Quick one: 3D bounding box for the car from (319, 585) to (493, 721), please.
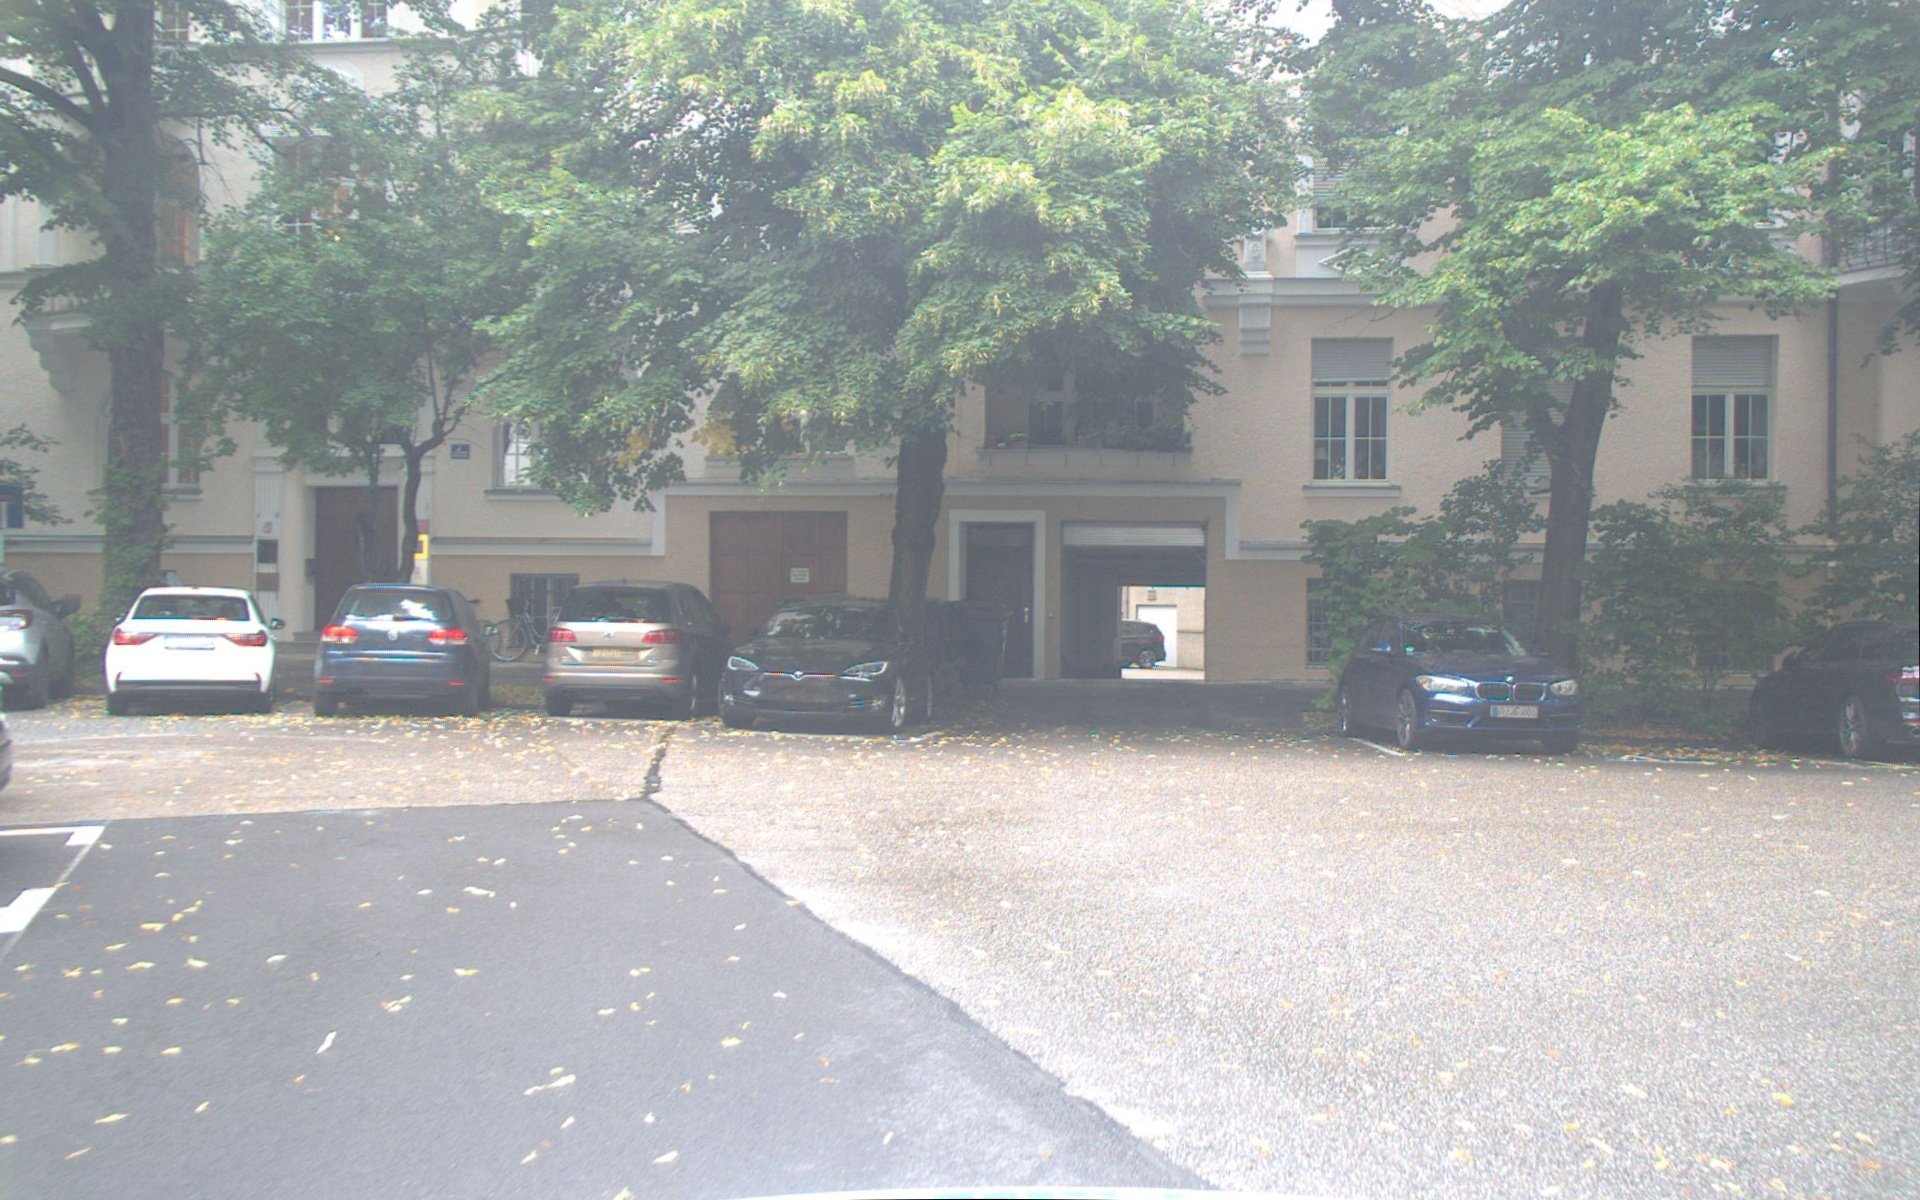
[{"bbox_3d":[-6.521,0.560,19.801,1.762,1.456,3.982,1,0,-16],"label":"car"}]

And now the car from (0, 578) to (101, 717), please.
[{"bbox_3d":[-11.709,0.503,19.987,1.842,1.536,3.976,1,0,-21],"label":"car"}]

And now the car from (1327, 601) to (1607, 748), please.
[{"bbox_3d":[5.379,0.751,18.160,1.801,1.407,4.342,0,-1,1],"label":"car"}]

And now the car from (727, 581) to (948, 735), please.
[{"bbox_3d":[-1.259,0.655,18.883,1.668,1.492,4.291,2,-2,7],"label":"car"}]

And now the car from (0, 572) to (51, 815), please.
[{"bbox_3d":[-8.025,0.661,10.318,3.937,1.505,1.821,-3,1,-25],"label":"car"}]

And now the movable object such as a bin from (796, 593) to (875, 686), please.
[{"bbox_3d":[-1.906,0.596,25.470,1.094,1.372,0.864,1,1,2],"label":"movable object such as a bin"}]

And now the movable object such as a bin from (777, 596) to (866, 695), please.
[{"bbox_3d":[-2.009,0.642,24.202,1.126,1.372,1.157,1,1,2],"label":"movable object such as a bin"}]

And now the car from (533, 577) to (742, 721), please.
[{"bbox_3d":[-3.828,0.537,20.289,1.801,1.557,4.024,1,0,-1],"label":"car"}]

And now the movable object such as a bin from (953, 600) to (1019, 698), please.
[{"bbox_3d":[0.386,0.687,23.849,0.844,1.328,1.433,3,0,3],"label":"movable object such as a bin"}]

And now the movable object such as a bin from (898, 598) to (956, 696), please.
[{"bbox_3d":[-0.474,0.667,24.215,0.698,1.371,1.374,1,0,4],"label":"movable object such as a bin"}]

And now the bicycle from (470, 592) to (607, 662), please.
[{"bbox_3d":[-7.178,0.447,28.214,2.181,1.135,0.577,1,0,5],"label":"bicycle"}]

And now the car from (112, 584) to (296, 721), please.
[{"bbox_3d":[-8.946,0.558,19.835,1.693,1.456,3.976,1,0,-21],"label":"car"}]

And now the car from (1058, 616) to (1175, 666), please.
[{"bbox_3d":[5.237,1.376,55.791,3.766,1.545,1.656,1,0,-1],"label":"car"}]

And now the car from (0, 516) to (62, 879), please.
[{"bbox_3d":[-6.717,0.517,7.812,4.167,1.713,1.887,-2,1,-25],"label":"car"}]

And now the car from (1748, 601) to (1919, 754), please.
[{"bbox_3d":[10.071,0.829,17.674,1.818,1.450,4.165,0,-2,8],"label":"car"}]
